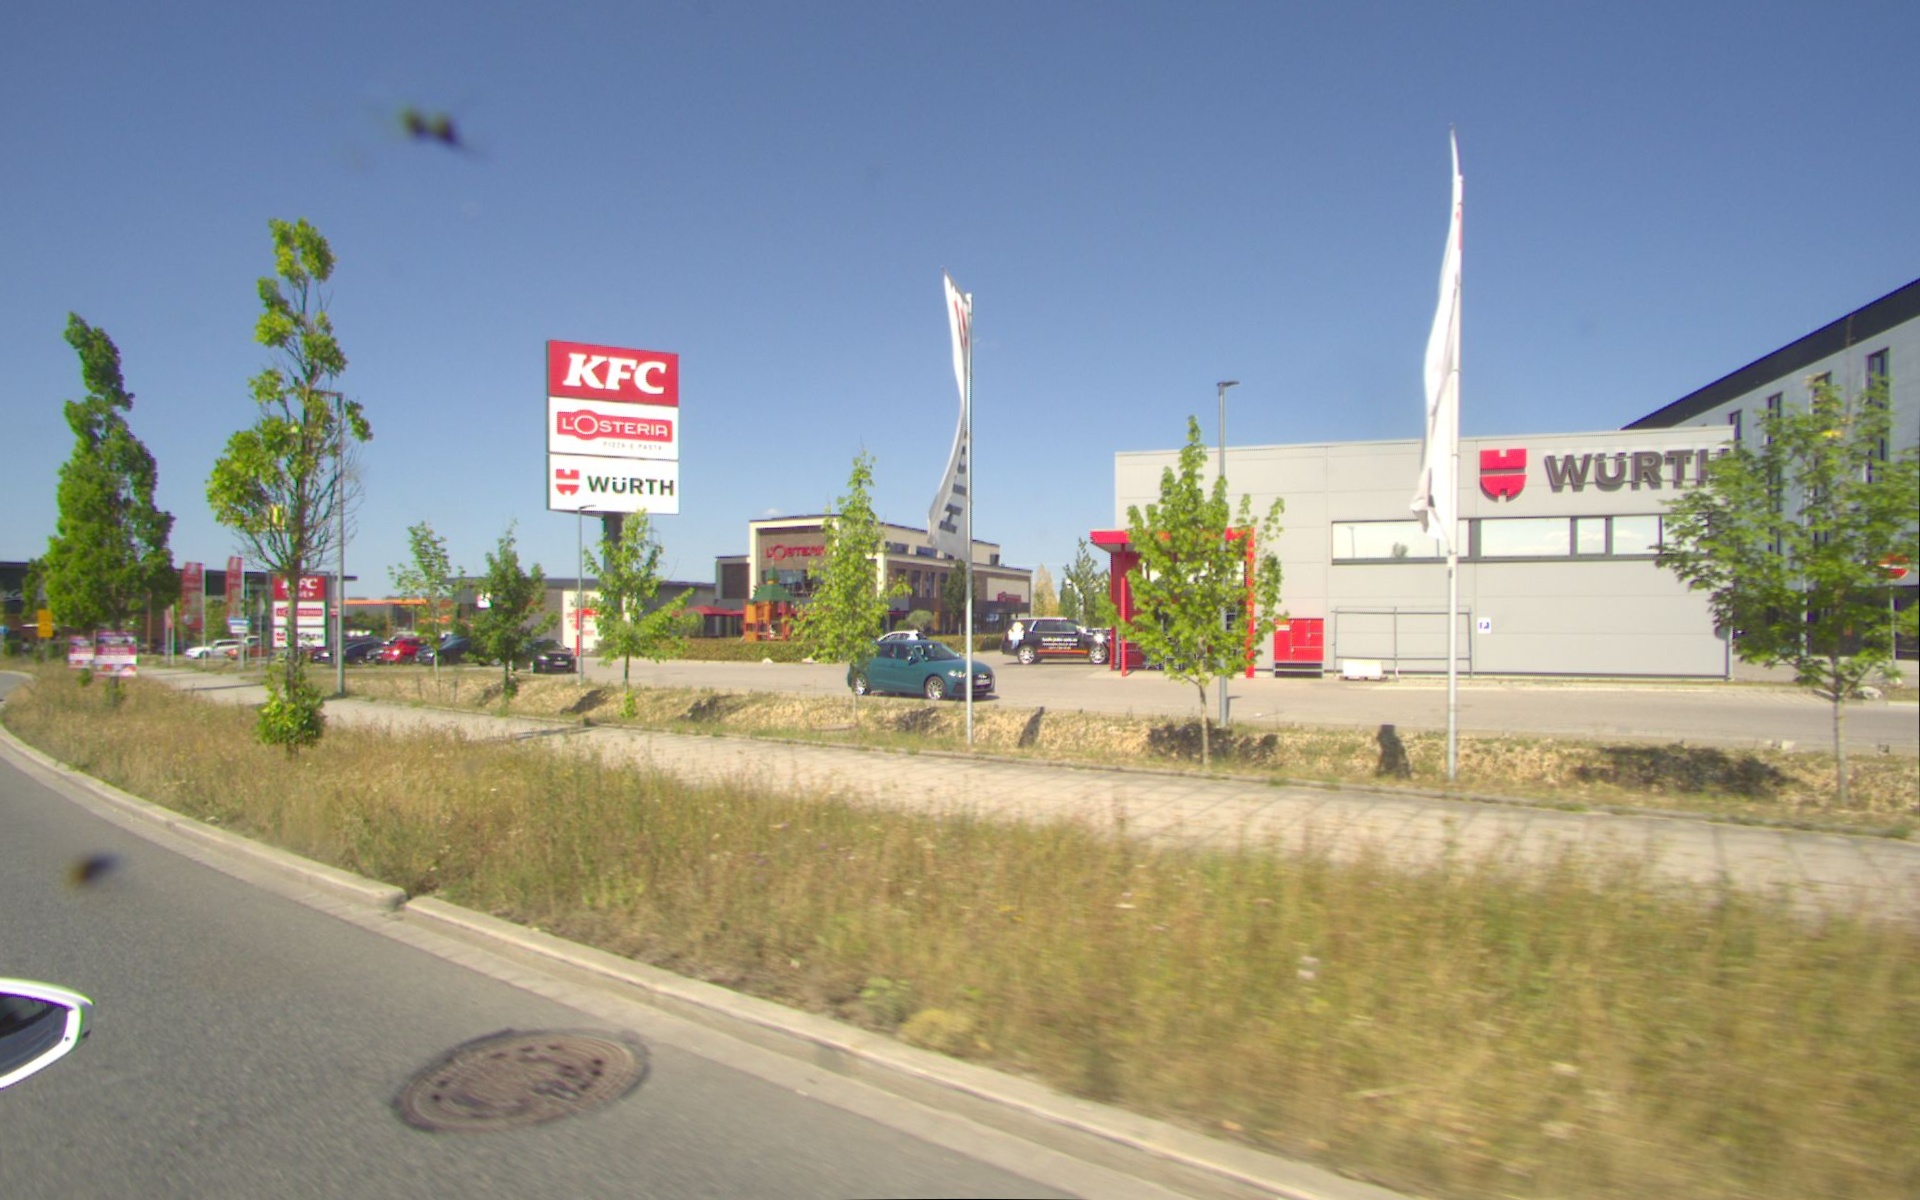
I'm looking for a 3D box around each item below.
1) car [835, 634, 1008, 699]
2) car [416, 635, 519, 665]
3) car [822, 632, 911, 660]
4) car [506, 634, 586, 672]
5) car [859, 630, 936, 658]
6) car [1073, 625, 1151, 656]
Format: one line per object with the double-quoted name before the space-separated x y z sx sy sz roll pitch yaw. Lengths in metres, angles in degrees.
"car" -1.008 1.587 24.767 4.178 1.468 1.832 -2 -2 41
"car" -25.994 2.626 52.956 1.978 1.477 4.496 -2 -2 42
"car" -4.686 2.304 50.394 4.078 1.355 1.829 -1 -1 15
"car" -17.507 2.192 42.250 1.858 1.484 4.326 1 -2 -41
"car" -3.429 2.392 55.086 3.845 1.493 1.800 -1 -1 20
"car" 8.102 2.155 53.360 3.928 1.637 1.779 -1 -1 17
